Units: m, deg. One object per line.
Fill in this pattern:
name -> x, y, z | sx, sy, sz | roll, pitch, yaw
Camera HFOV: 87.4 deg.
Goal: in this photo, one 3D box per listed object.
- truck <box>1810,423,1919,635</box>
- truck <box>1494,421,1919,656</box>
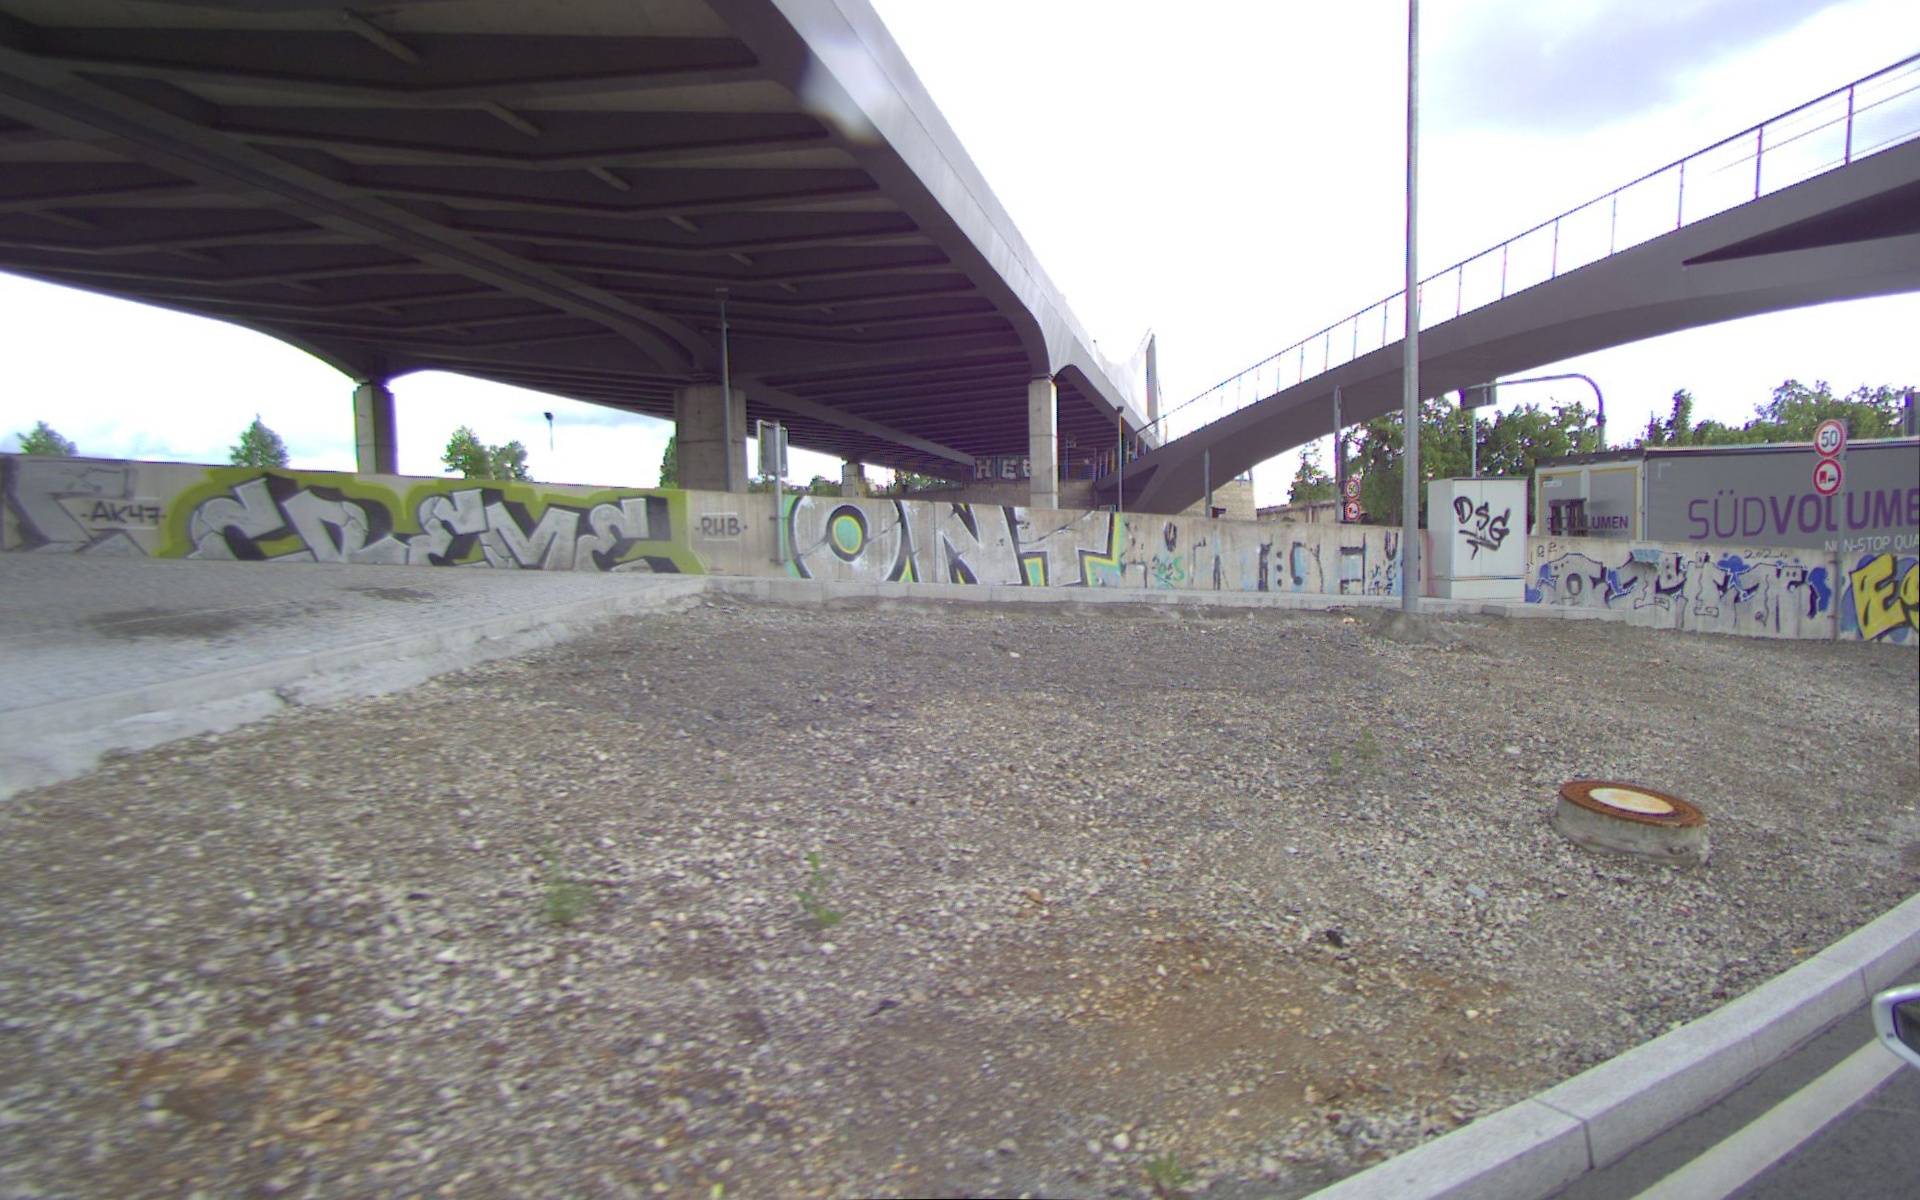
truck -> 24.419, -1.793, 21.786 | 11.044, 4.233, 2.989 | -4, 4, -12
truck -> 16.078, -1.337, 20.048 | 10.021, 4.072, 2.920 | -2, 4, -12
